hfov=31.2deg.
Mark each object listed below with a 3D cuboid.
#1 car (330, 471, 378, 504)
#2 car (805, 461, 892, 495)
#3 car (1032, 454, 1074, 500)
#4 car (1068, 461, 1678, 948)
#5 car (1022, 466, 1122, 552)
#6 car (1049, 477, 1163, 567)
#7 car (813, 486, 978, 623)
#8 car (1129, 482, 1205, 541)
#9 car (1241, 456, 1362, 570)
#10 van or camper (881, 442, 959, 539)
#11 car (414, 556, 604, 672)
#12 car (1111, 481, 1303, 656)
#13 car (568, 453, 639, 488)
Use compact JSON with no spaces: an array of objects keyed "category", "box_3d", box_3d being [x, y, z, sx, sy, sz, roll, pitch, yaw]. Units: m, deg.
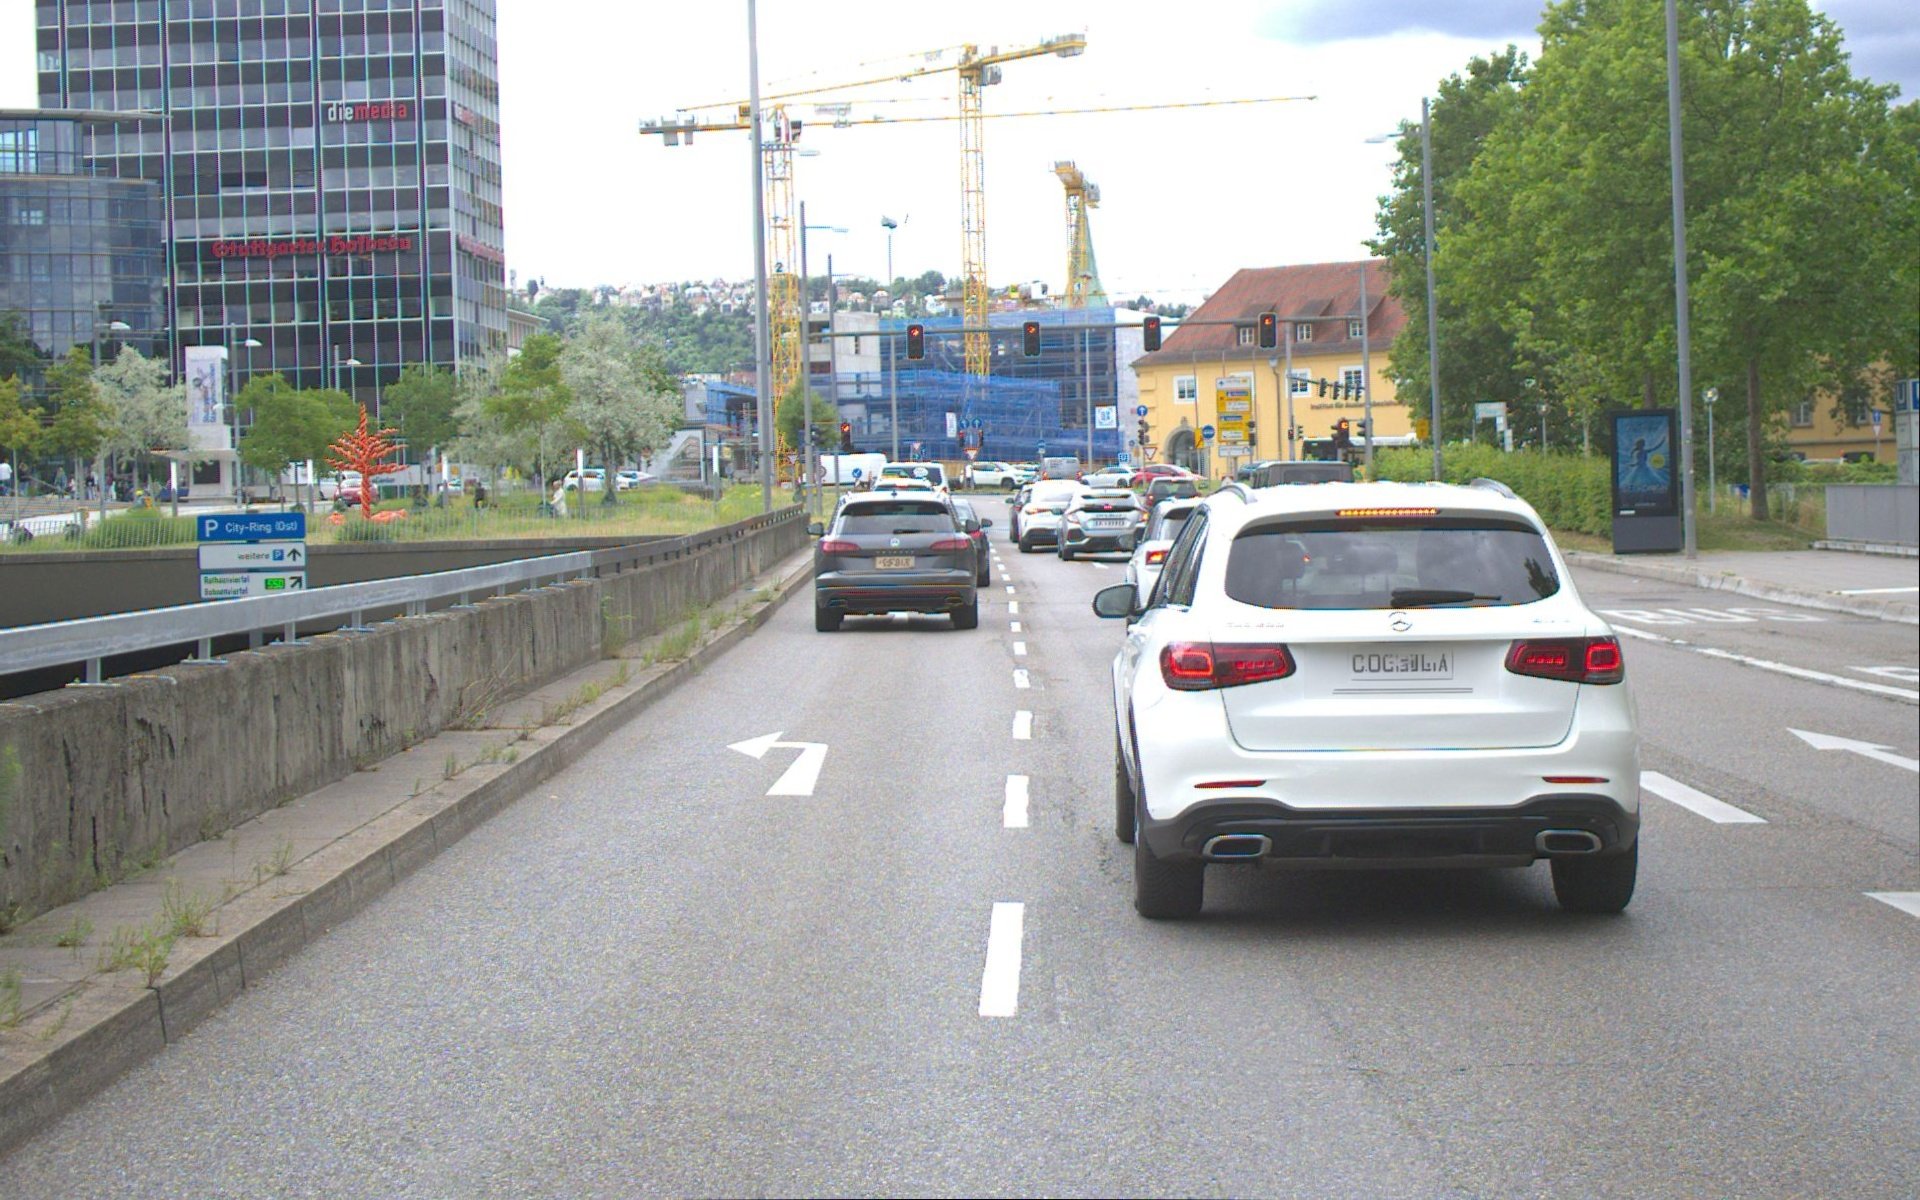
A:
[{"category":"car","box_3d":[-31.304,-5.808,177.540,1.867,1.612,3.481,1,1,0]},{"category":"car","box_3d":[-7.096,-7.753,218.099,5.280,2.053,1.871,1,1,28]},{"category":"car","box_3d":[4.344,-5.731,160.577,1.800,2.007,4.000,1,1,0]},{"category":"car","box_3d":[1.497,0.339,13.944,1.940,1.678,4.000,0,1,-1]},{"category":"car","box_3d":[2.406,-1.944,74.682,1.993,1.774,4.000,1,1,0]},{"category":"car","box_3d":[2.809,-1.495,66.973,1.993,1.656,4.000,1,1,0]},{"category":"car","box_3d":[-0.765,-0.593,42.234,1.922,1.596,4.000,0,2,0]},{"category":"car","box_3d":[5.717,-2.443,95.402,1.719,1.579,4.001,1,1,-2]},{"category":"car","box_3d":[6.213,-1.597,62.904,1.788,2.006,4.000,0,2,0]},{"category":"van or camper","box_3d":[-1.018,-2.766,87.767,1.922,2.312,4.000,0,0,0]},{"category":"car","box_3d":[-5.503,0.141,42.334,1.719,1.288,4.000,1,1,1]},{"category":"car","box_3d":[2.420,-0.334,34.458,1.672,1.622,4.000,1,1,1]},{"category":"car","box_3d":[-21.679,-7.877,209.085,3.986,2.007,2.001,1,1,-17]}]
